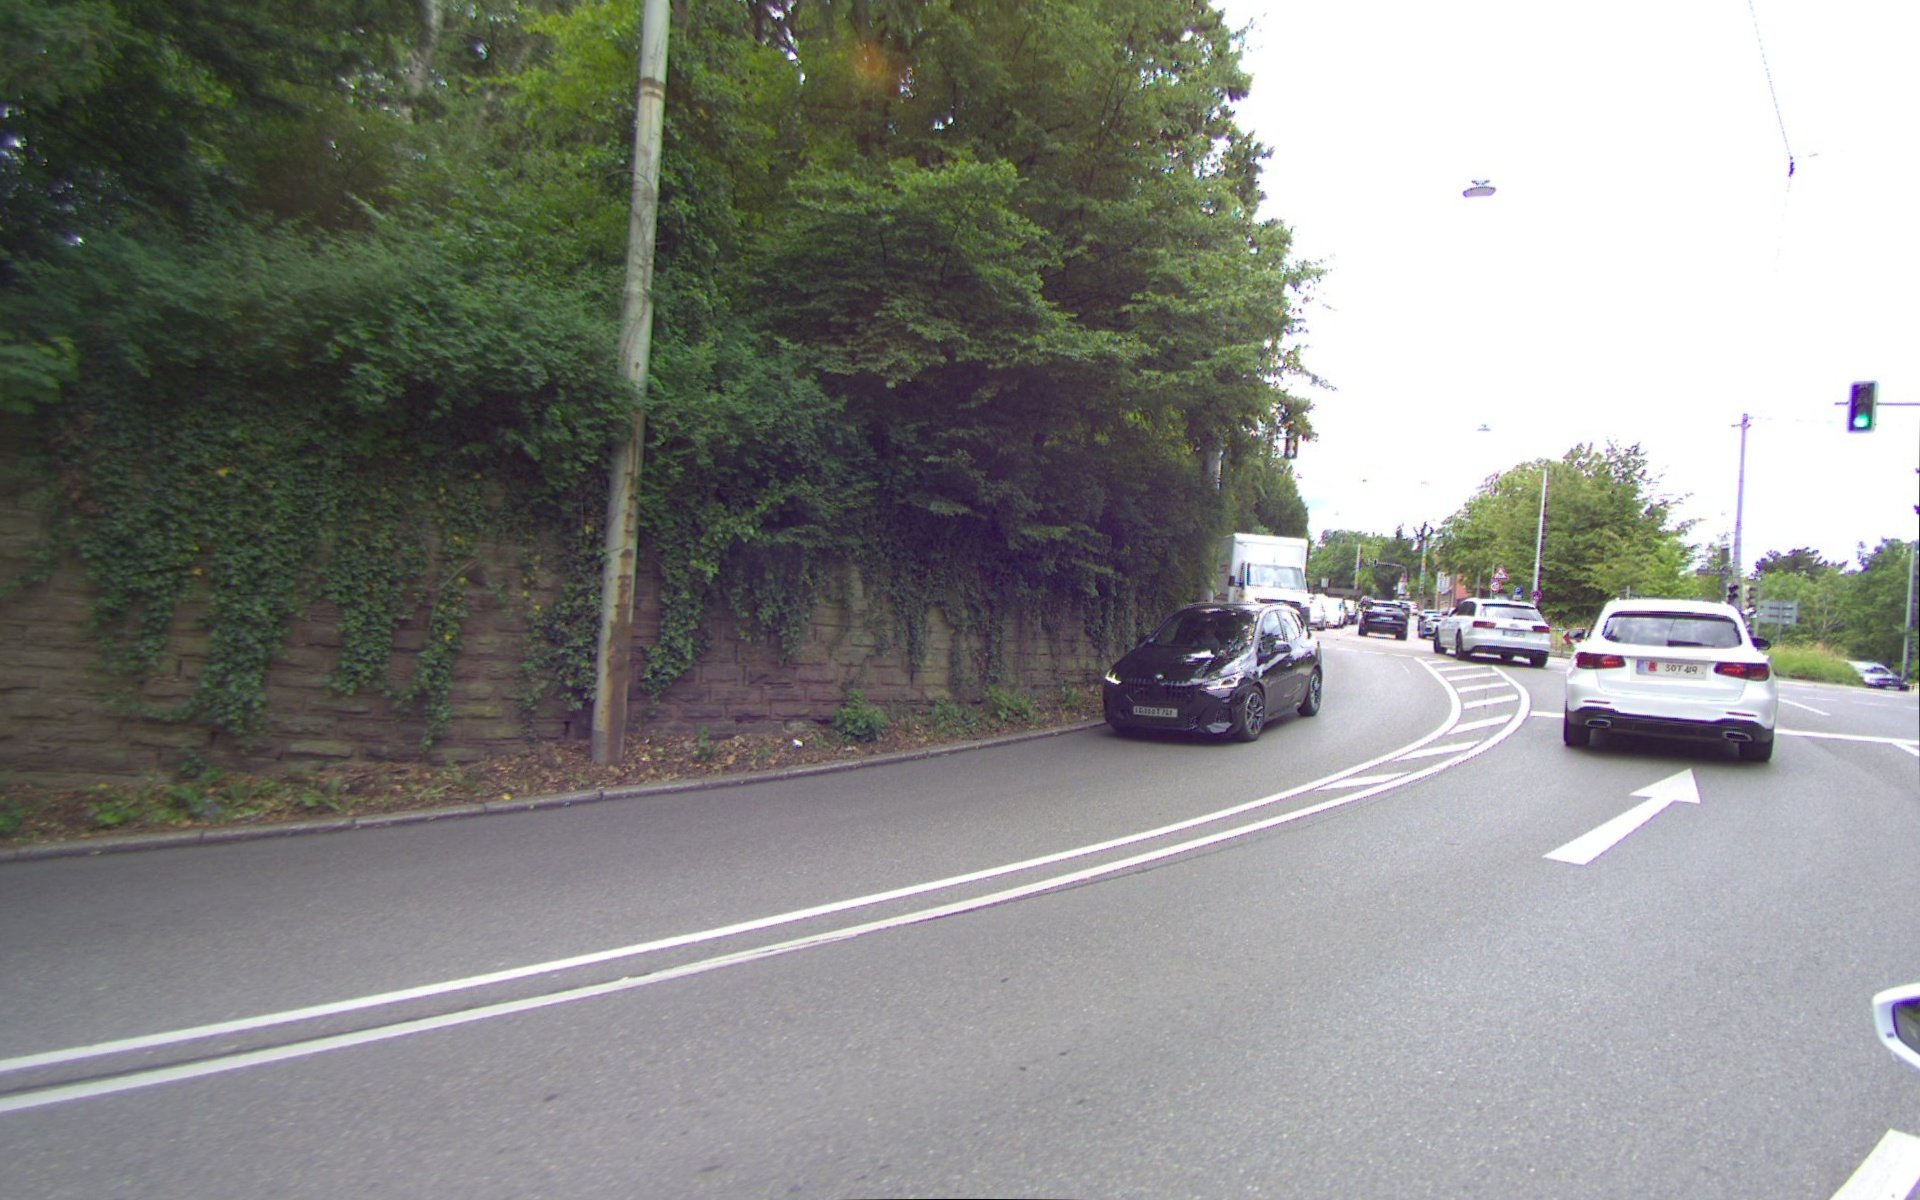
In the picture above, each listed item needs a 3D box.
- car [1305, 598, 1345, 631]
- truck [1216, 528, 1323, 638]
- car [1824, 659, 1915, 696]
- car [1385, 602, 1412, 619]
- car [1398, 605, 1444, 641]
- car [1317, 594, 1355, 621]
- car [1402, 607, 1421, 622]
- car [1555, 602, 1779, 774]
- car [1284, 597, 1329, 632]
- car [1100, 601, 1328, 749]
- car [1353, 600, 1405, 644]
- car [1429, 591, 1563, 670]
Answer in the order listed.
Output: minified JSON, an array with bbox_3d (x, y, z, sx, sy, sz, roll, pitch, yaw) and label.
[{"bbox_3d":[21.530,0.879,59.100,1.961,1.658,4.397,7,2,21],"label":"car"},{"bbox_3d":[9.668,-0.596,31.976,2.361,3.130,6.346,1,2,9],"label":"truck"},{"bbox_3d":[41.541,3.518,45.998,1.688,1.504,4.001,4,-2,21],"label":"car"},{"bbox_3d":[42.653,1.046,97.710,1.619,1.470,3.548,4,1,11],"label":"car"},{"bbox_3d":[24.892,1.208,54.375,1.606,1.844,4.001,3,0,16],"label":"car"},{"bbox_3d":[25.757,0.527,68.715,1.864,1.588,4.475,7,2,25],"label":"car"},{"bbox_3d":[50.050,1.571,111.423,1.620,1.470,3.545,5,1,21],"label":"car"},{"bbox_3d":[8.478,0.838,11.892,1.836,1.627,4.650,0,0,39],"label":"car"},{"bbox_3d":[16.999,0.691,49.130,1.728,1.461,4.478,7,2,22],"label":"car"},{"bbox_3d":[3.438,0.829,13.048,1.582,1.595,4.050,-1,0,34],"label":"car"},{"bbox_3d":[19.183,0.969,46.102,1.758,1.658,3.736,6,3,18],"label":"car"},{"bbox_3d":[12.844,0.643,24.397,1.833,1.555,4.777,3,2,16],"label":"car"}]
